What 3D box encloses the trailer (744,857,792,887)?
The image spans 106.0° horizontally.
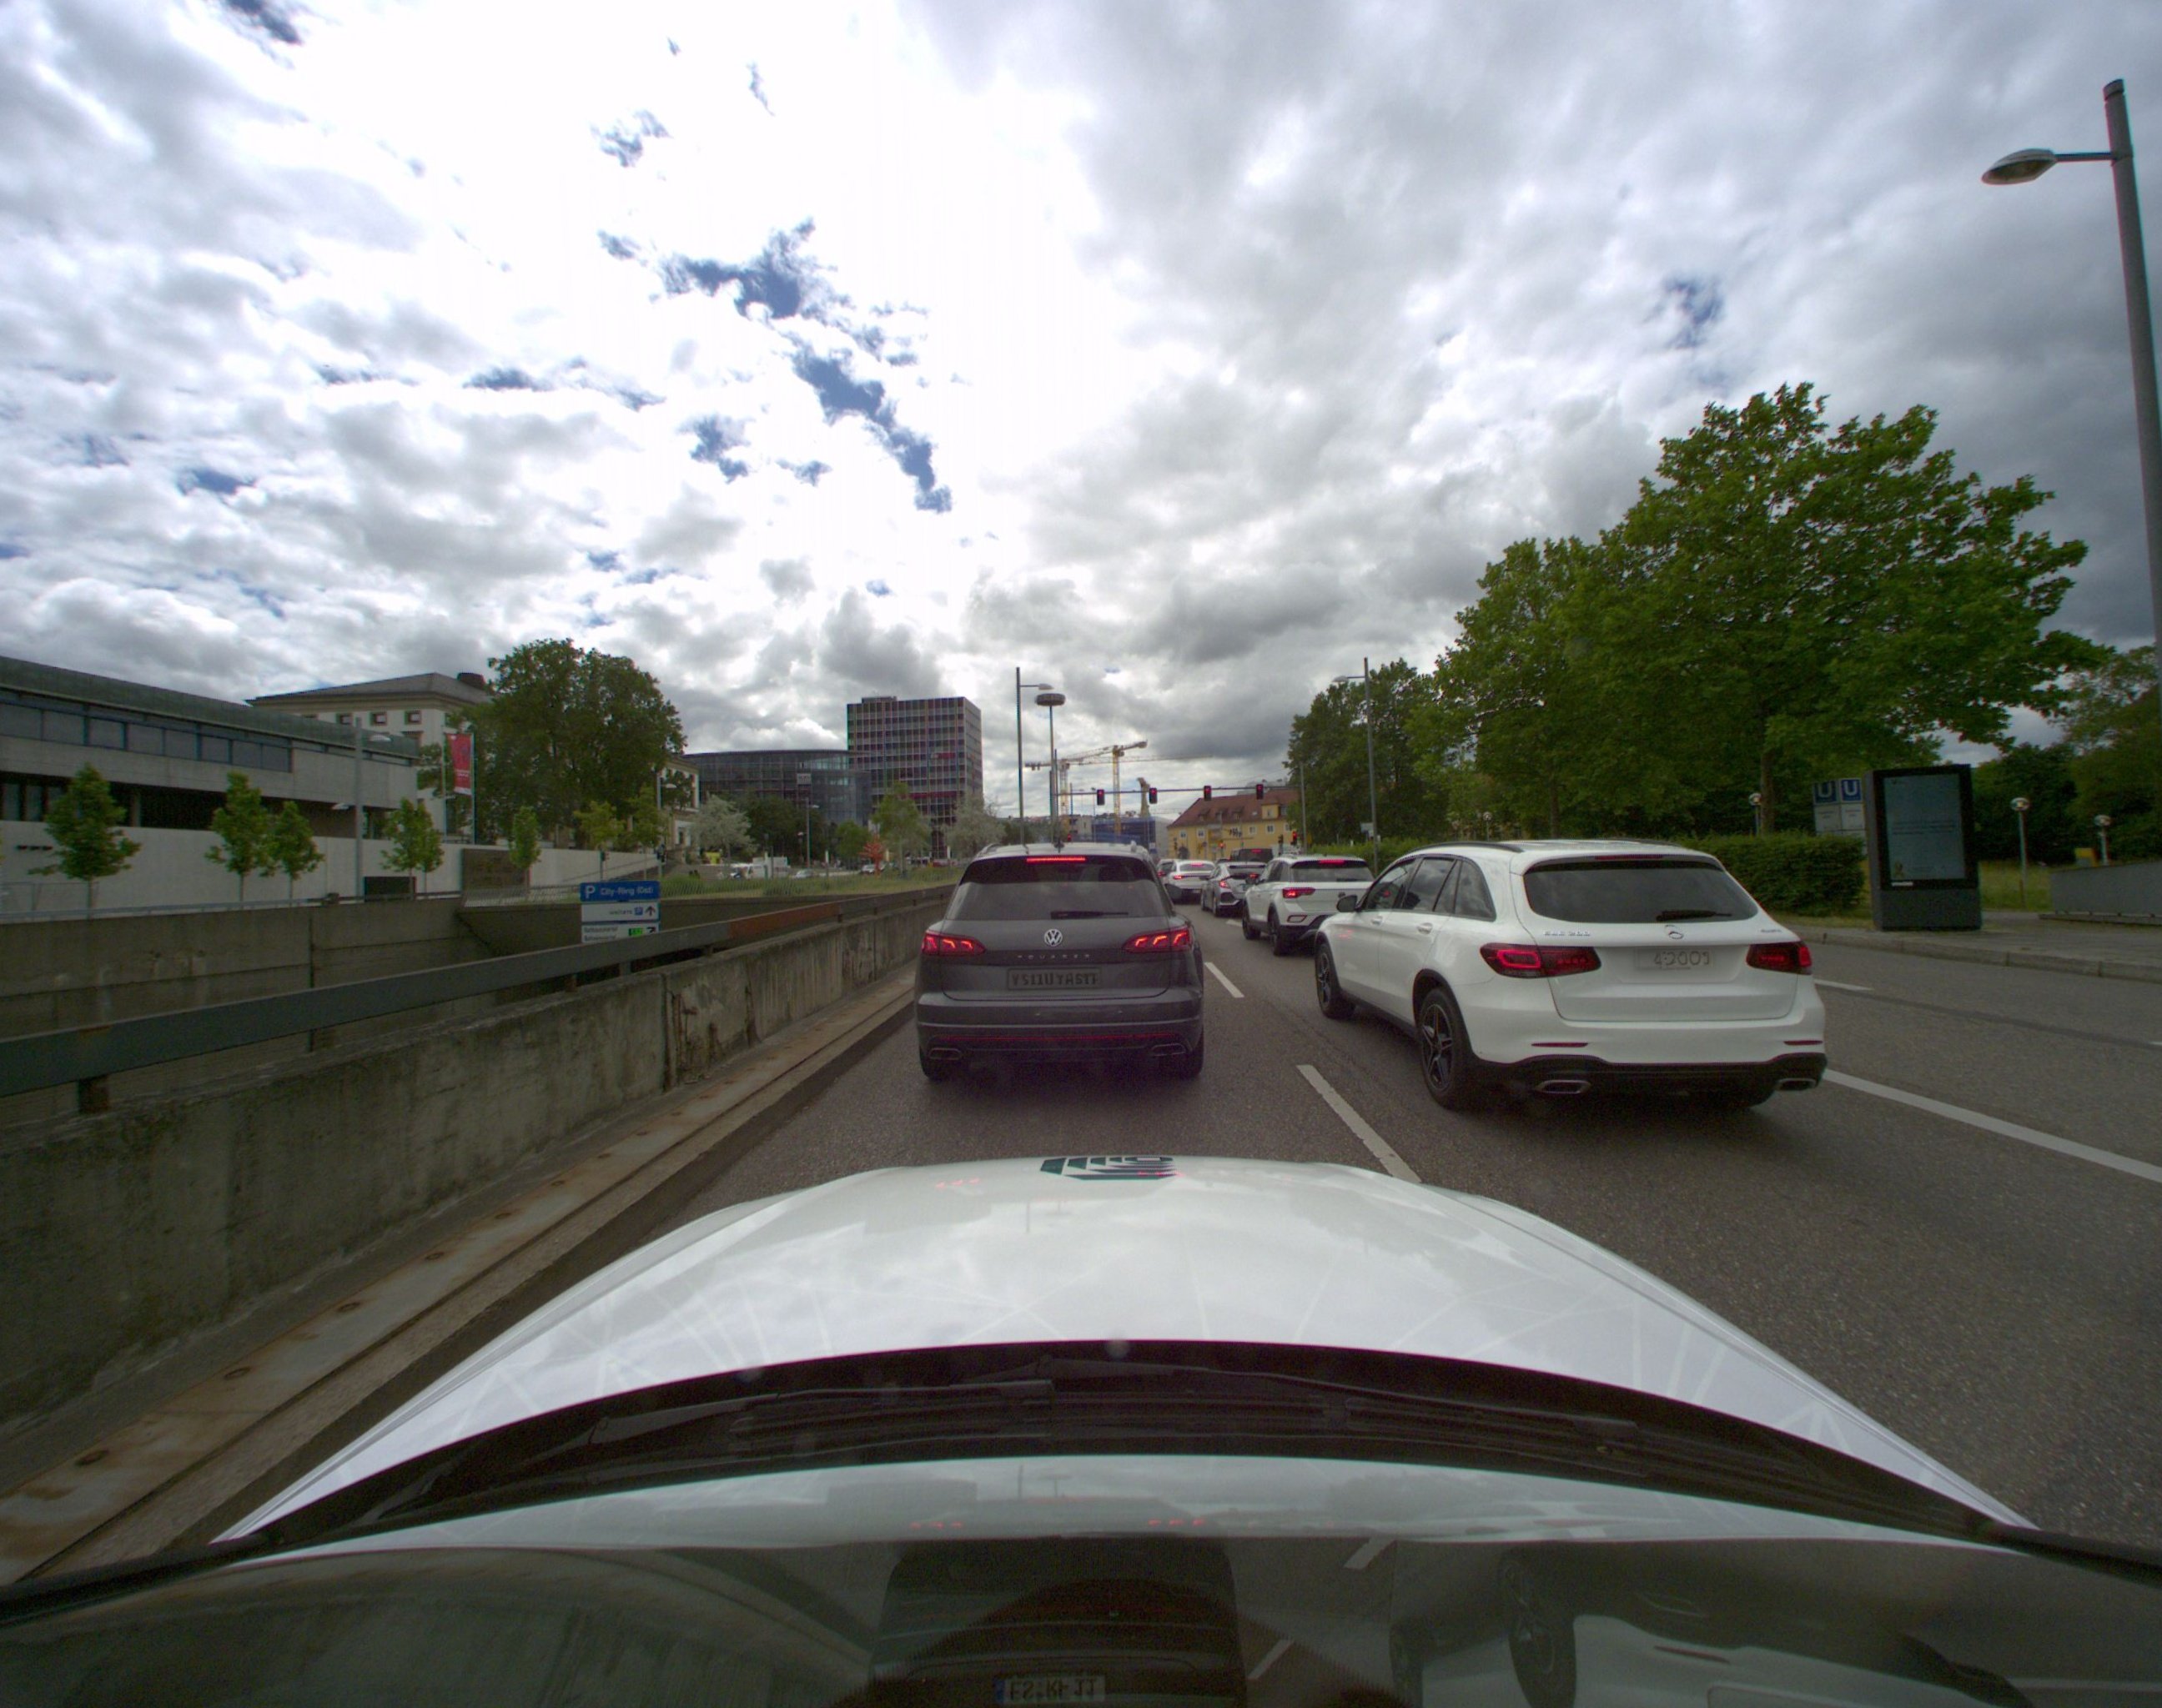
[{"bbox_3d":[-28.778,1.610,75.074,2.030,2.604,5.511,0,0,2],"label":"trailer"}]

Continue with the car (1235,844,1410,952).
[{"bbox_3d":[3.940,0.677,14.127,1.918,1.551,4.493,-1,-1,3],"label":"car"}]

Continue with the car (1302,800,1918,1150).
[{"bbox_3d":[3.148,0.606,6.183,1.918,1.653,4.493,-1,-1,3],"label":"car"}]

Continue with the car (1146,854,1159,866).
[{"bbox_3d":[9.708,0.816,111.416,1.612,1.627,4.002,0,-2,3],"label":"car"}]

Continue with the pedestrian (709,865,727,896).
[{"bbox_3d":[-24.914,1.816,55.951,0.621,2.013,0.868,-2,1,37],"label":"pedestrian"}]

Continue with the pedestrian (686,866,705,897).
[{"bbox_3d":[-26.205,1.859,55.378,0.785,2.013,0.840,-2,0,12],"label":"pedestrian"}]

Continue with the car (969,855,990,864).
[{"bbox_3d":[-22.918,1.178,184.234,4.402,2.014,2.012,-1,-2,36],"label":"car"}]

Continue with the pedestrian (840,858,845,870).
[{"bbox_3d":[-40.795,1.784,139.080,0.739,2.013,0.789,-2,1,-14],"label":"pedestrian"}]

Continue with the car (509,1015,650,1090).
[{"bbox_3d":[-17.619,6.952,28.895,2.155,1.767,4.394,-3,-4,1],"label":"car"}]

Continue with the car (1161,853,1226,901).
[{"bbox_3d":[3.907,0.795,28.969,1.918,1.529,4.493,-1,-1,3],"label":"car"}]

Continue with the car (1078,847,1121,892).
[{"bbox_3d":[0.877,0.712,38.688,1.944,2.018,3.932,0,0,1],"label":"car"}]

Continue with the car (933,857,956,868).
[{"bbox_3d":[-26.824,1.649,159.726,2.012,2.013,4.633,-2,1,-45],"label":"car"}]

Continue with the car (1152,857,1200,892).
[{"bbox_3d":[4.342,0.937,37.783,1.918,1.529,4.050,-1,-1,3],"label":"car"}]

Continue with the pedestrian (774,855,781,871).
[{"bbox_3d":[-39.006,1.111,104.635,0.740,2.014,0.788,-1,-3,-16],"label":"pedestrian"}]

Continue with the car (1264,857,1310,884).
[{"bbox_3d":[11.498,0.928,45.653,1.751,1.447,3.633,0,-1,1],"label":"car"}]

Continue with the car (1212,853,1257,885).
[{"bbox_3d":[8.347,0.820,44.641,1.902,1.697,4.014,0,-1,3],"label":"car"}]

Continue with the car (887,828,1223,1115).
[{"bbox_3d":[-0.097,0.704,6.788,1.944,1.651,4.001,-1,0,1],"label":"car"}]

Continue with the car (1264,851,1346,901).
[{"bbox_3d":[8.075,0.753,29.776,1.985,1.640,4.307,-1,0,2],"label":"car"}]

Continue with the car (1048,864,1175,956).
[{"bbox_3d":[0.527,0.881,14.513,1.944,1.384,3.932,0,0,1],"label":"car"}]

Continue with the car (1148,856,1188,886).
[{"bbox_3d":[4.661,0.927,44.068,1.918,1.529,4.050,-1,-1,3],"label":"car"}]

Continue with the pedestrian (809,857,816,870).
[{"bbox_3d":[-40.856,1.432,123.930,0.735,2.013,0.793,-2,1,2],"label":"pedestrian"}]

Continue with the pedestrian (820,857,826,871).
[{"bbox_3d":[-39.883,1.537,125.844,0.740,2.013,0.915,-2,1,-17],"label":"pedestrian"}]

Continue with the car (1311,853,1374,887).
[{"bbox_3d":[11.791,0.738,36.947,1.921,1.460,4.536,0,-1,7],"label":"car"}]

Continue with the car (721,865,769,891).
[{"bbox_3d":[-28.787,2.031,69.968,1.985,2.013,4.695,-2,1,3],"label":"car"}]

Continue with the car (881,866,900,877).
[{"bbox_3d":[-26.003,2.363,111.419,1.727,1.495,3.594,0,-2,0],"label":"car"}]

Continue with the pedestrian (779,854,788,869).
[{"bbox_3d":[-40.034,0.968,109.463,0.737,2.013,1.113,-2,1,-3],"label":"pedestrian"}]

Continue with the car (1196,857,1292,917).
[{"bbox_3d":[4.319,0.852,22.227,1.918,1.432,4.493,-1,-1,3],"label":"car"}]

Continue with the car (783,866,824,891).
[{"bbox_3d":[-25.684,2.220,75.516,1.985,2.013,4.695,-2,1,3],"label":"car"}]

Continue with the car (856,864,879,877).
[{"bbox_3d":[-25.466,1.968,97.251,1.727,1.495,3.594,0,-2,0],"label":"car"}]

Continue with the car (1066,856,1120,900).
[{"bbox_3d":[0.479,0.875,31.156,1.944,1.600,3.932,0,0,1],"label":"car"}]

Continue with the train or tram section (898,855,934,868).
[{"bbox_3d":[-39.351,1.777,194.227,8.836,3.010,2.612,-1,-2,30],"label":"train or tram section"}]

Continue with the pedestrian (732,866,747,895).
[{"bbox_3d":[-24.958,1.914,59.510,0.729,2.012,0.628,-2,4,-6],"label":"pedestrian"}]

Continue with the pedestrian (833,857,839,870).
[{"bbox_3d":[-39.105,1.539,129.959,0.739,2.013,0.789,-2,1,-14],"label":"pedestrian"}]

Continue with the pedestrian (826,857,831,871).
[{"bbox_3d":[-39.202,1.554,126.330,0.740,2.013,0.915,-2,1,-17],"label":"pedestrian"}]

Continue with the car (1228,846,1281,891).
[{"bbox_3d":[8.263,0.685,39.061,1.902,2.014,4.014,0,-1,3],"label":"car"}]
